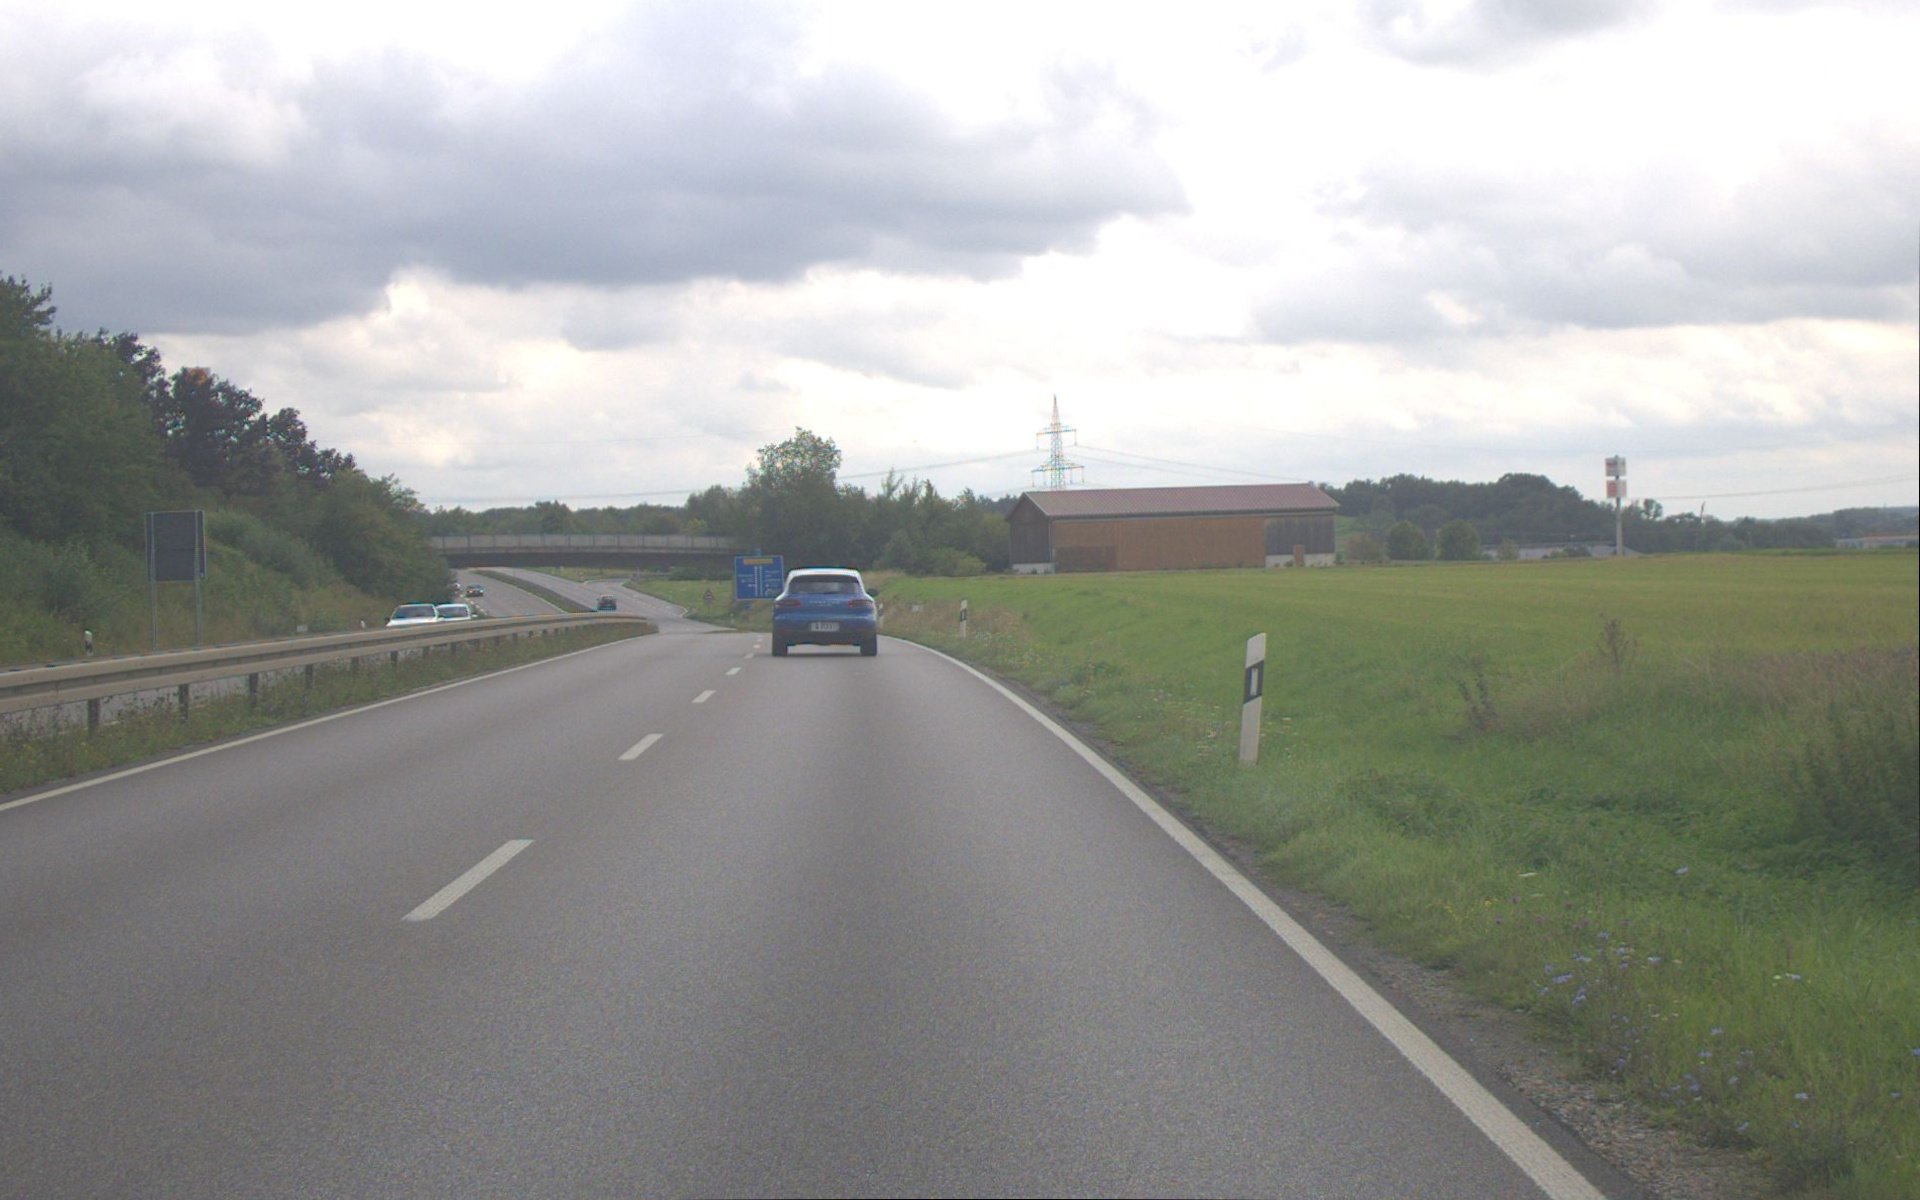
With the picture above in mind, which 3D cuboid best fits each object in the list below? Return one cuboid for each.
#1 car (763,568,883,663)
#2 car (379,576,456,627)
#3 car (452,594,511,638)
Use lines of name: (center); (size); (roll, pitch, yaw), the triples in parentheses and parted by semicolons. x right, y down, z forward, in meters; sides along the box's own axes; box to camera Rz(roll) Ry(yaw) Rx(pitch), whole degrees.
car: (-2.520, 0.262, 64.283); (2.033, 1.655, 4.543); (0, 1, 0)
car: (-18.159, 0.038, 115.246); (1.993, 1.512, 4.989); (-1, 2, -3)
car: (-18.738, 0.621, 134.716); (1.920, 1.512, 4.464); (-1, 2, -4)
